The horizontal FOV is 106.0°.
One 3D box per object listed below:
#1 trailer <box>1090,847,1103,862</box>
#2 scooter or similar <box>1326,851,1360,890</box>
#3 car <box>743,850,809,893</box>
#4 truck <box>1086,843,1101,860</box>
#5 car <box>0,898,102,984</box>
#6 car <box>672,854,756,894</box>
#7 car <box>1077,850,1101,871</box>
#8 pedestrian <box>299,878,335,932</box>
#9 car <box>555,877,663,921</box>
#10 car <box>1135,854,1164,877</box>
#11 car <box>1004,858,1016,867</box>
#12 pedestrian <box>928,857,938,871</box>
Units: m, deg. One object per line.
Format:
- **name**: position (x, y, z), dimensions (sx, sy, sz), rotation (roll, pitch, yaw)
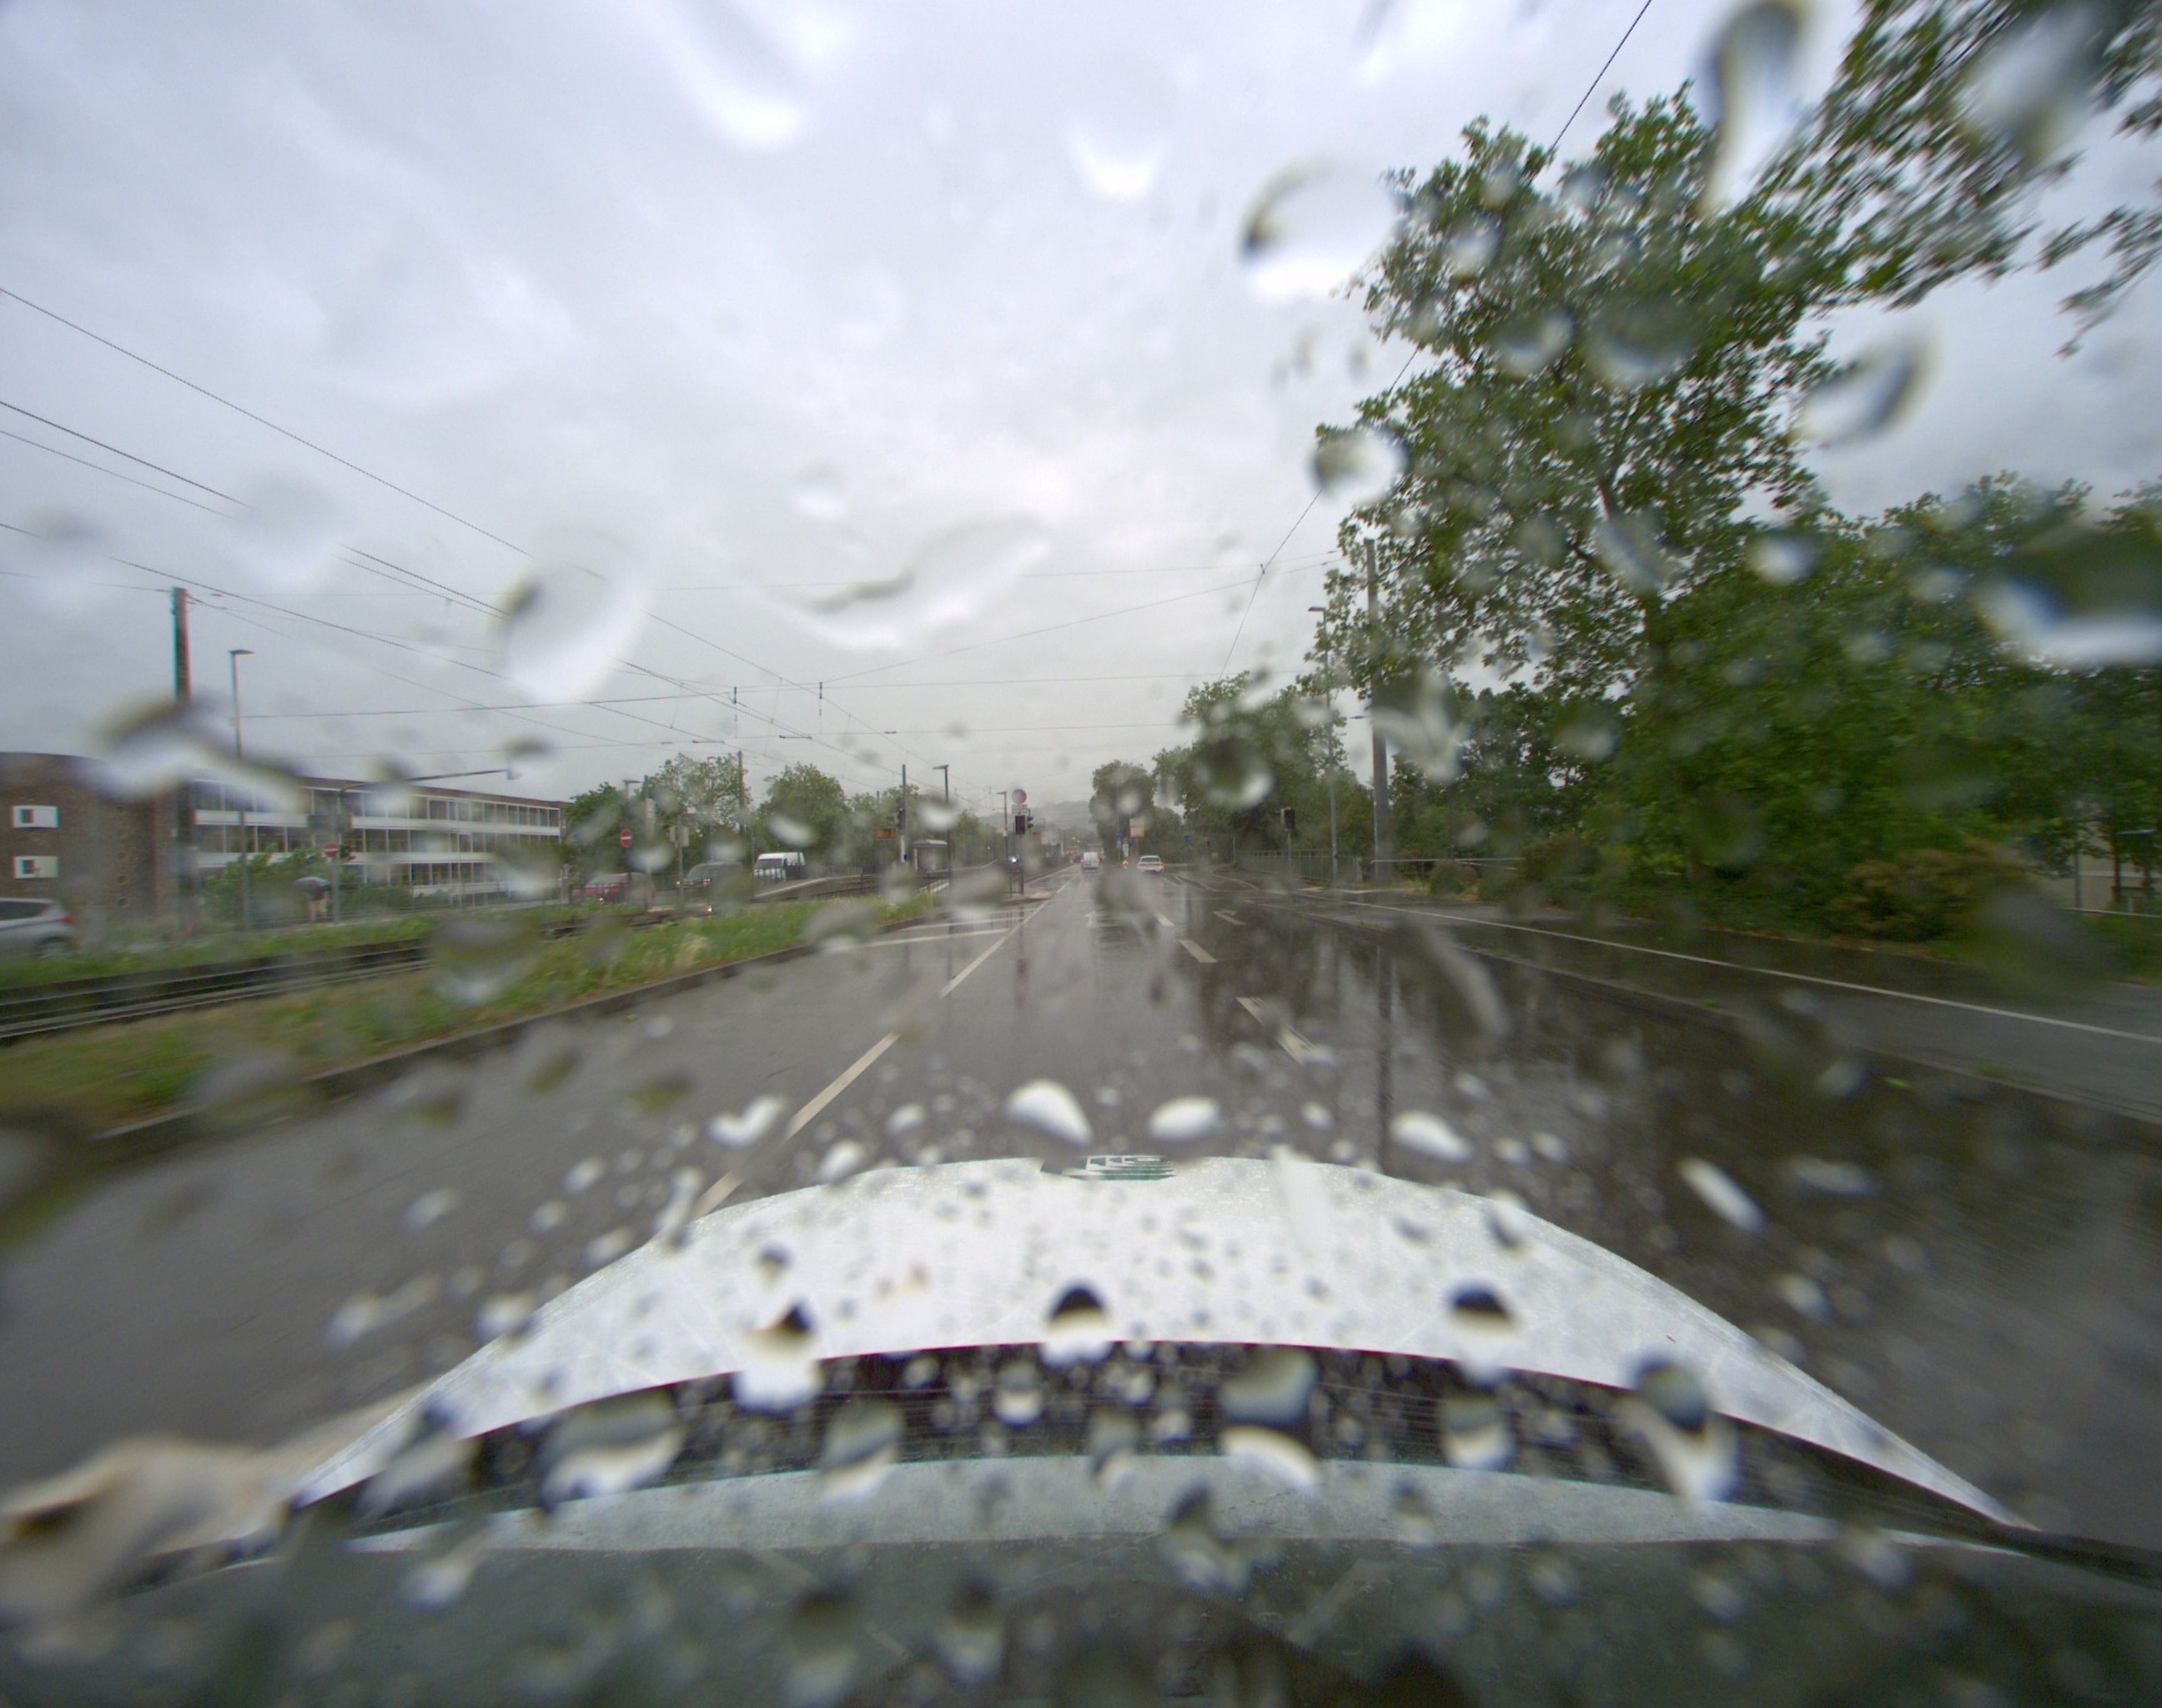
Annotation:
- **trailer**: position (3.002, 0.164, 153.810), dimensions (2.157, 2.757, 5.680), rotation (-1, -1, 3)
- **scooter or similar**: position (9.115, 0.571, 28.395), dimensions (0.756, 1.293, 1.648), rotation (-1, -1, 4)
- **car**: position (-20.567, 1.139, 55.197), dimensions (2.112, 2.712, 5.740), rotation (-1, 0, 1)
- **truck**: position (2.768, -0.512, 184.992), dimensions (2.769, 3.704, 9.841), rotation (-1, -1, -3)
- **car**: position (-22.036, 1.755, 15.401), dimensions (1.986, 1.596, 4.095), rotation (-1, 0, 2)
- **car**: position (-17.452, 0.908, 38.959), dimensions (1.986, 1.772, 4.259), rotation (-1, 0, 1)
- **car**: position (0.746, 0.596, 75.700), dimensions (1.989, 1.849, 3.996), rotation (-1, 0, -3)
- **pedestrian**: position (-29.604, 1.973, 31.562), dimensions (0.696, 2.013, 0.697), rotation (-1, 0, 2)
- **car**: position (-20.858, 1.942, 36.270), dimensions (1.986, 1.707, 4.626), rotation (-1, 0, 1)
- **car**: position (4.720, 0.747, 55.634), dimensions (1.879, 1.431, 4.006), rotation (-1, 0, 5)
- **car**: position (-15.444, 1.837, 177.005), dimensions (1.986, 2.014, 4.001), rotation (-1, -1, 2)
- **pedestrian**: position (-14.152, 0.912, 77.825), dimensions (0.828, 1.316, 0.858), rotation (0, 0, 1)
